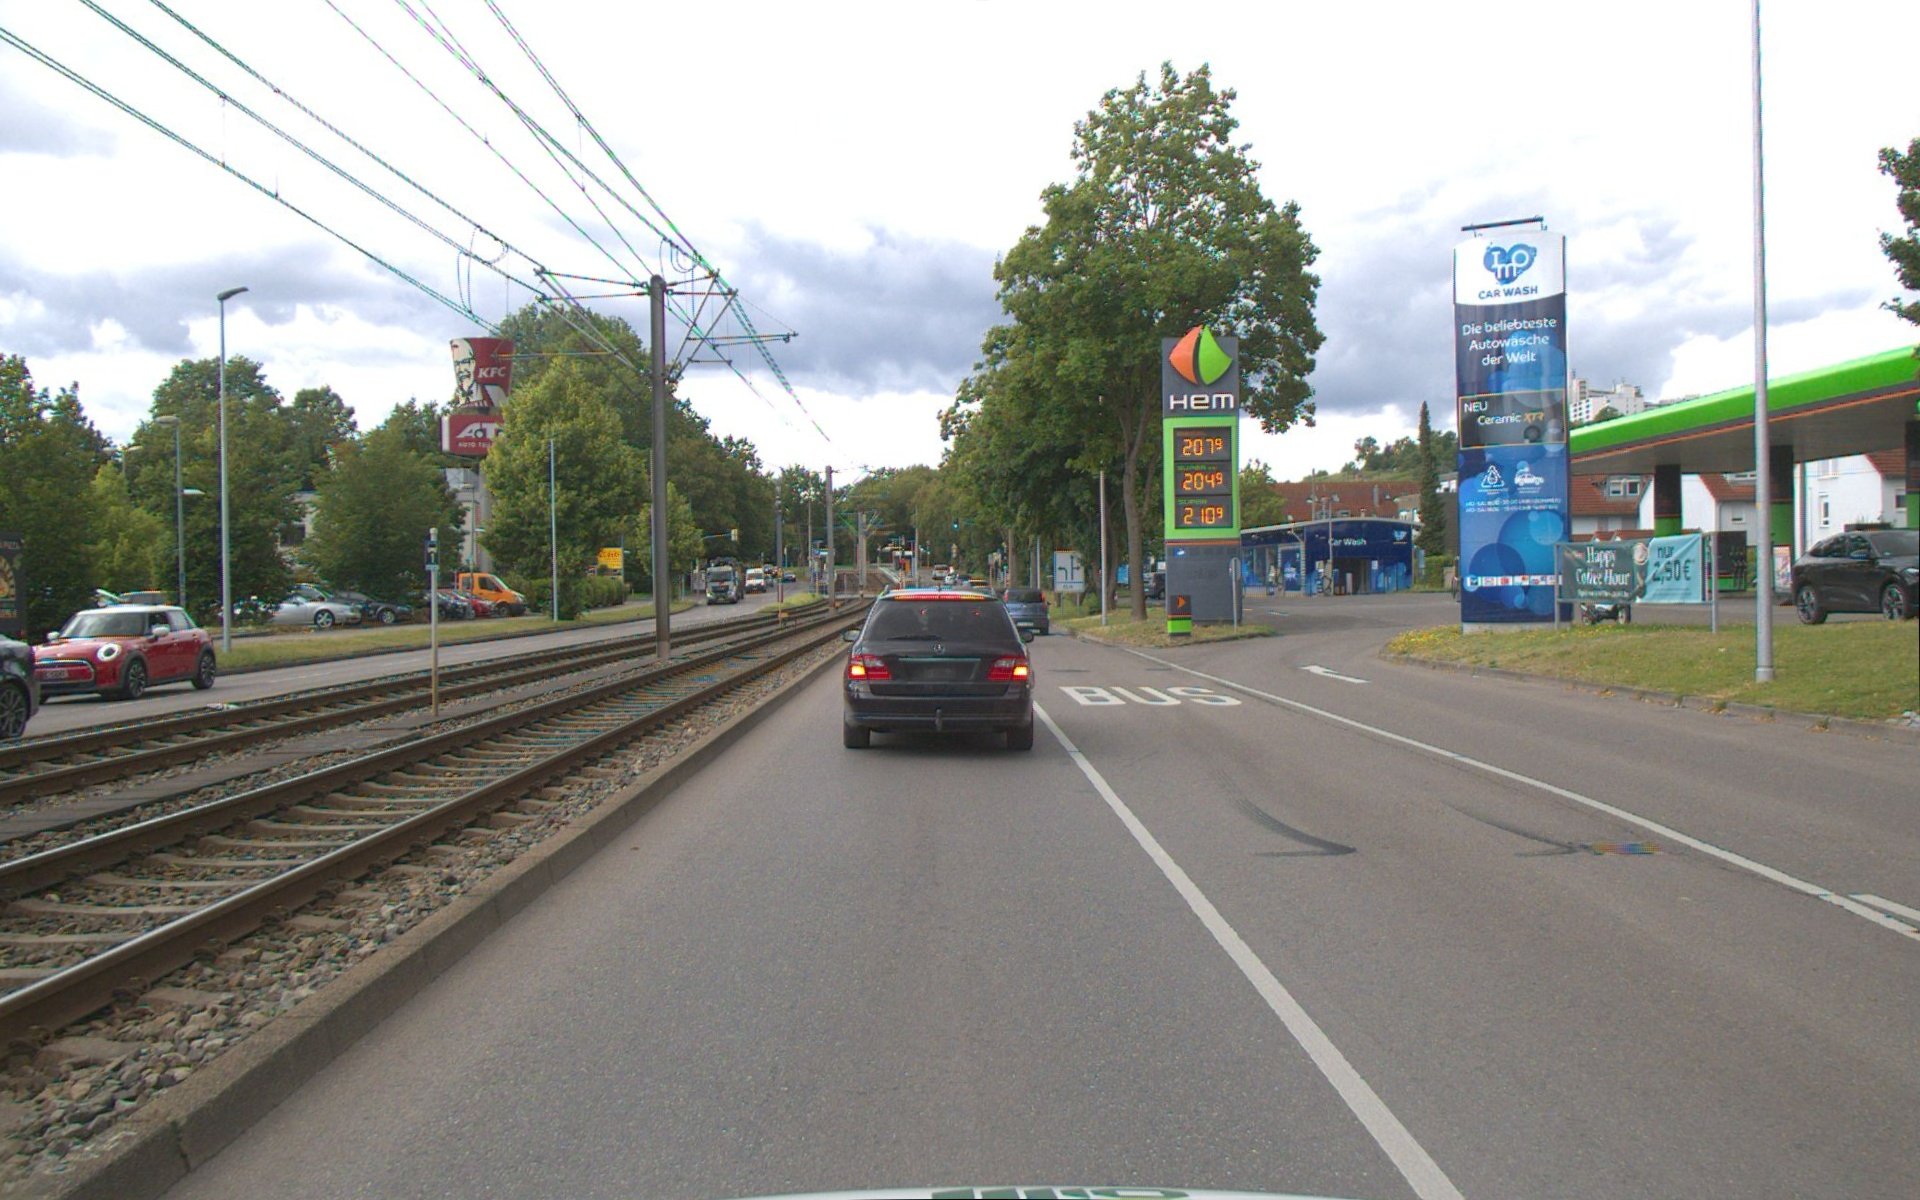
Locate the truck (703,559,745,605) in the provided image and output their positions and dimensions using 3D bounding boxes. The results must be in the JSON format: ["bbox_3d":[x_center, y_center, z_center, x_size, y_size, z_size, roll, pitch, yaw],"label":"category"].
[{"bbox_3d":[-20.154,-1.521,141.618,2.653,3.727,11.103,-1,0,-4],"label":"truck"}]

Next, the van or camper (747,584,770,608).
[{"bbox_3d":[-21.182,-0.402,173.904,1.954,2.395,5.762,-1,0,-3],"label":"van or camper"}]

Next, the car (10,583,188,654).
[{"bbox_3d":[-23.816,0.493,45.855,3.910,1.829,1.876,-2,0,-6],"label":"car"}]

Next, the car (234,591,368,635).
[{"bbox_3d":[-24.043,0.464,60.434,4.221,1.497,1.679,-1,0,-3],"label":"car"}]

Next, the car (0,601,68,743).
[{"bbox_3d":[-10.482,0.785,15.640,1.724,1.425,4.442,-4,0,-2],"label":"car"}]

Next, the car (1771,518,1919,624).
[{"bbox_3d":[16.222,-0.486,28.934,1.784,1.704,4.336,-3,-1,-1],"label":"car"}]

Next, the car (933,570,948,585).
[{"bbox_3d":[-2.568,-2.907,214.397,1.953,1.870,3.999,0,0,-1],"label":"car"}]

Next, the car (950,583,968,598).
[{"bbox_3d":[-0.114,-0.984,172.080,1.634,1.559,3.767,0,0,-4],"label":"car"}]

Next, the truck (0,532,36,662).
[{"bbox_3d":[-23.019,-0.017,36.456,3.908,2.871,2.374,-2,0,-4],"label":"truck"}]

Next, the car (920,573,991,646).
[{"bbox_3d":[-0.134,0.243,42.978,1.744,1.781,3.717,1,0,-1],"label":"car"}]

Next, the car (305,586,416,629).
[{"bbox_3d":[-24.629,0.289,68.090,3.910,1.627,1.876,-2,0,-6],"label":"car"}]

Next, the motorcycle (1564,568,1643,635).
[{"bbox_3d":[13.530,0.023,34.824,0.838,1.354,1.989,-2,0,-1],"label":"motorcycle"}]

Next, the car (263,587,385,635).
[{"bbox_3d":[-24.130,0.407,62.856,3.910,1.663,1.876,-2,0,-6],"label":"car"}]

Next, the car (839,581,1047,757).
[{"bbox_3d":[-0.174,0.575,16.062,1.772,1.500,3.880,0,0,-1],"label":"car"}]

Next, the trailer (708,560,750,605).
[{"bbox_3d":[-20.573,-1.528,148.071,2.652,3.724,13.288,-1,0,-4],"label":"trailer"}]

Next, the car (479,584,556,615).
[{"bbox_3d":[-25.215,-0.042,94.353,3.910,1.627,1.794,-2,0,-6],"label":"car"}]

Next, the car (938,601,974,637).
[{"bbox_3d":[-0.184,0.780,68.365,1.436,1.439,3.353,1,0,-1],"label":"car"}]

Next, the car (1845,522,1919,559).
[{"bbox_3d":[46.955,-2.983,84.089,1.655,1.713,3.999,-2,0,-1],"label":"car"}]

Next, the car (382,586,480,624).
[{"bbox_3d":[-24.078,0.219,75.390,3.910,1.627,1.876,-2,0,-6],"label":"car"}]

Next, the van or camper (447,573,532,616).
[{"bbox_3d":[-24.367,-0.273,85.784,3.910,2.172,1.876,0,0,-6],"label":"van or camper"}]

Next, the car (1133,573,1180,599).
[{"bbox_3d":[13.526,-0.970,113.786,1.965,1.712,4.579,-1,0,23],"label":"car"}]

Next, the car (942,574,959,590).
[{"bbox_3d":[-1.124,-2.099,191.699,1.953,1.744,3.999,-1,0,-1],"label":"car"}]

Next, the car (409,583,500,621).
[{"bbox_3d":[-24.646,0.083,80.775,3.910,1.829,1.876,0,0,-6],"label":"car"}]

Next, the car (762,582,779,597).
[{"bbox_3d":[-22.815,-1.243,199.186,1.729,1.676,3.770,0,0,-1],"label":"car"}]

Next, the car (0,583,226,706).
[{"bbox_3d":[-13.620,0.656,26.832,1.756,1.803,3.998,-1,0,-3],"label":"car"}]

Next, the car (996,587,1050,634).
[{"bbox_3d":[2.012,0.342,53.264,1.539,1.439,3.353,1,0,-1],"label":"car"}]

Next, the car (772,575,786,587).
[{"bbox_3d":[-26.498,-2.773,242.429,1.729,1.676,3.770,0,0,-1],"label":"car"}]
